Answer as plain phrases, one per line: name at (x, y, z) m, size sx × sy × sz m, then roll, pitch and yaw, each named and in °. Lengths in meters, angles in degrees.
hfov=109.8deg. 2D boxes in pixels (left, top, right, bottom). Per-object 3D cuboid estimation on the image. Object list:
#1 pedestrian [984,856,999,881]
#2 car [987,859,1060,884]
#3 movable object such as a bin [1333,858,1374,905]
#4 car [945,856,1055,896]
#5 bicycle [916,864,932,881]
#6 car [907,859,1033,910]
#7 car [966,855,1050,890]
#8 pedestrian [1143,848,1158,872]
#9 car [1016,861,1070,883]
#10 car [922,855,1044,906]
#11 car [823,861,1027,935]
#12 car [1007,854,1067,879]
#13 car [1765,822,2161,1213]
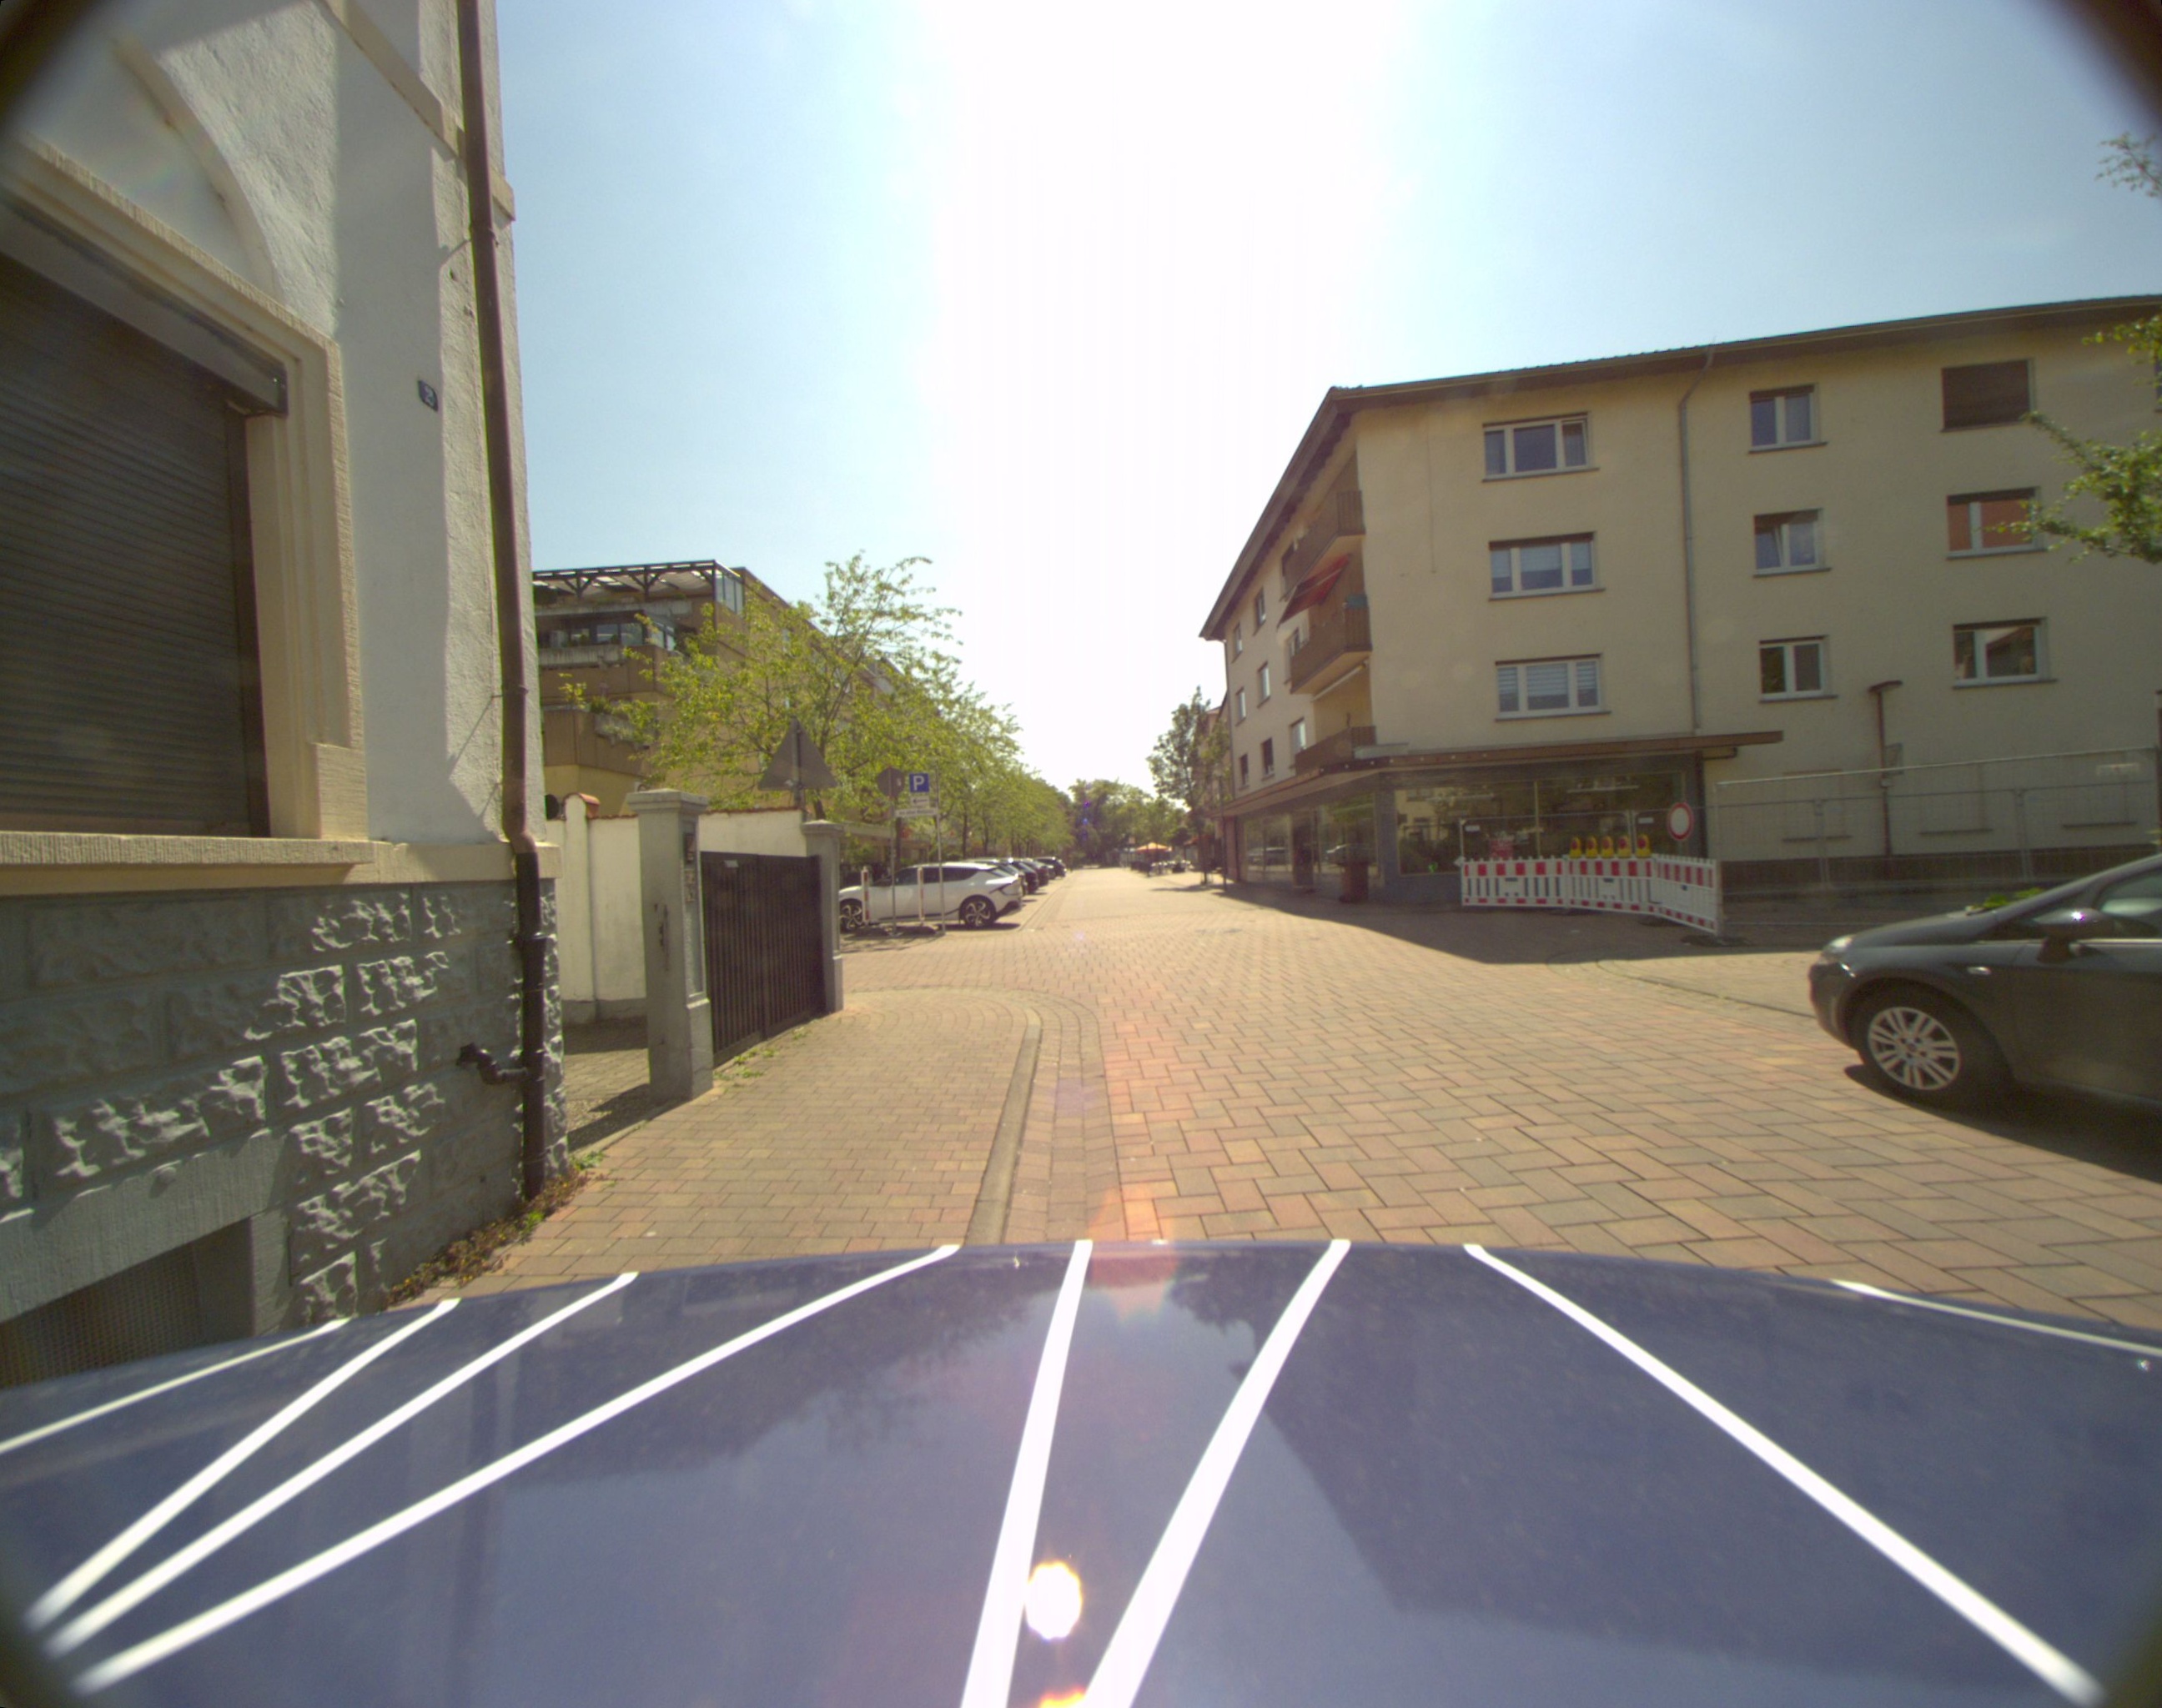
pedestrian at (-6.284, 1.032, 53.354) m, size 0.614 × 1.721 × 0.649 m, roll -4°, pitch 1°, yaw 35°
car at (-3.742, 1.115, 49.375) m, size 4.390 × 1.455 × 1.888 m, roll -2°, pitch 0°, yaw -18°
movable object such as a bin at (6.635, 0.657, 18.523) m, size 0.657 × 1.064 × 0.663 m, roll -4°, pitch 1°, yaw -6°
car at (-3.513, 0.962, 33.569) m, size 4.518 × 1.579 × 1.850 m, roll -2°, pitch 0°, yaw 3°
bicycle at (-11.163, 1.309, 54.091) m, size 0.643 × 1.075 × 1.866 m, roll -4°, pitch 1°, yaw 1°
car at (-3.661, 0.995, 25.632) m, size 3.954 × 1.525 × 1.824 m, roll -1°, pitch 0°, yaw 0°
car at (-3.632, 0.914, 38.382) m, size 4.037 × 1.603 × 1.681 m, roll -2°, pitch 1°, yaw 0°
pedestrian at (5.375, 0.487, 58.713) m, size 0.758 × 1.770 × 0.872 m, roll -3°, pitch 1°, yaw 39°
car at (-3.319, 1.576, 66.824) m, size 4.586 × 1.534 × 1.807 m, roll -4°, pitch 0°, yaw 1°
car at (-3.582, 0.957, 28.407) m, size 4.290 × 1.671 × 2.000 m, roll -2°, pitch 0°, yaw -1°
car at (-3.607, 1.011, 18.166) m, size 4.451 × 1.566 × 1.789 m, roll -2°, pitch 0°, yaw 1°
car at (-3.199, 0.906, 55.477) m, size 4.254 × 1.608 × 1.756 m, roll -2°, pitch 0°, yaw 0°
car at (5.072, 0.615, 2.653) m, size 1.707 × 1.488 × 3.856 m, roll -3°, pitch 0°, yaw -3°
